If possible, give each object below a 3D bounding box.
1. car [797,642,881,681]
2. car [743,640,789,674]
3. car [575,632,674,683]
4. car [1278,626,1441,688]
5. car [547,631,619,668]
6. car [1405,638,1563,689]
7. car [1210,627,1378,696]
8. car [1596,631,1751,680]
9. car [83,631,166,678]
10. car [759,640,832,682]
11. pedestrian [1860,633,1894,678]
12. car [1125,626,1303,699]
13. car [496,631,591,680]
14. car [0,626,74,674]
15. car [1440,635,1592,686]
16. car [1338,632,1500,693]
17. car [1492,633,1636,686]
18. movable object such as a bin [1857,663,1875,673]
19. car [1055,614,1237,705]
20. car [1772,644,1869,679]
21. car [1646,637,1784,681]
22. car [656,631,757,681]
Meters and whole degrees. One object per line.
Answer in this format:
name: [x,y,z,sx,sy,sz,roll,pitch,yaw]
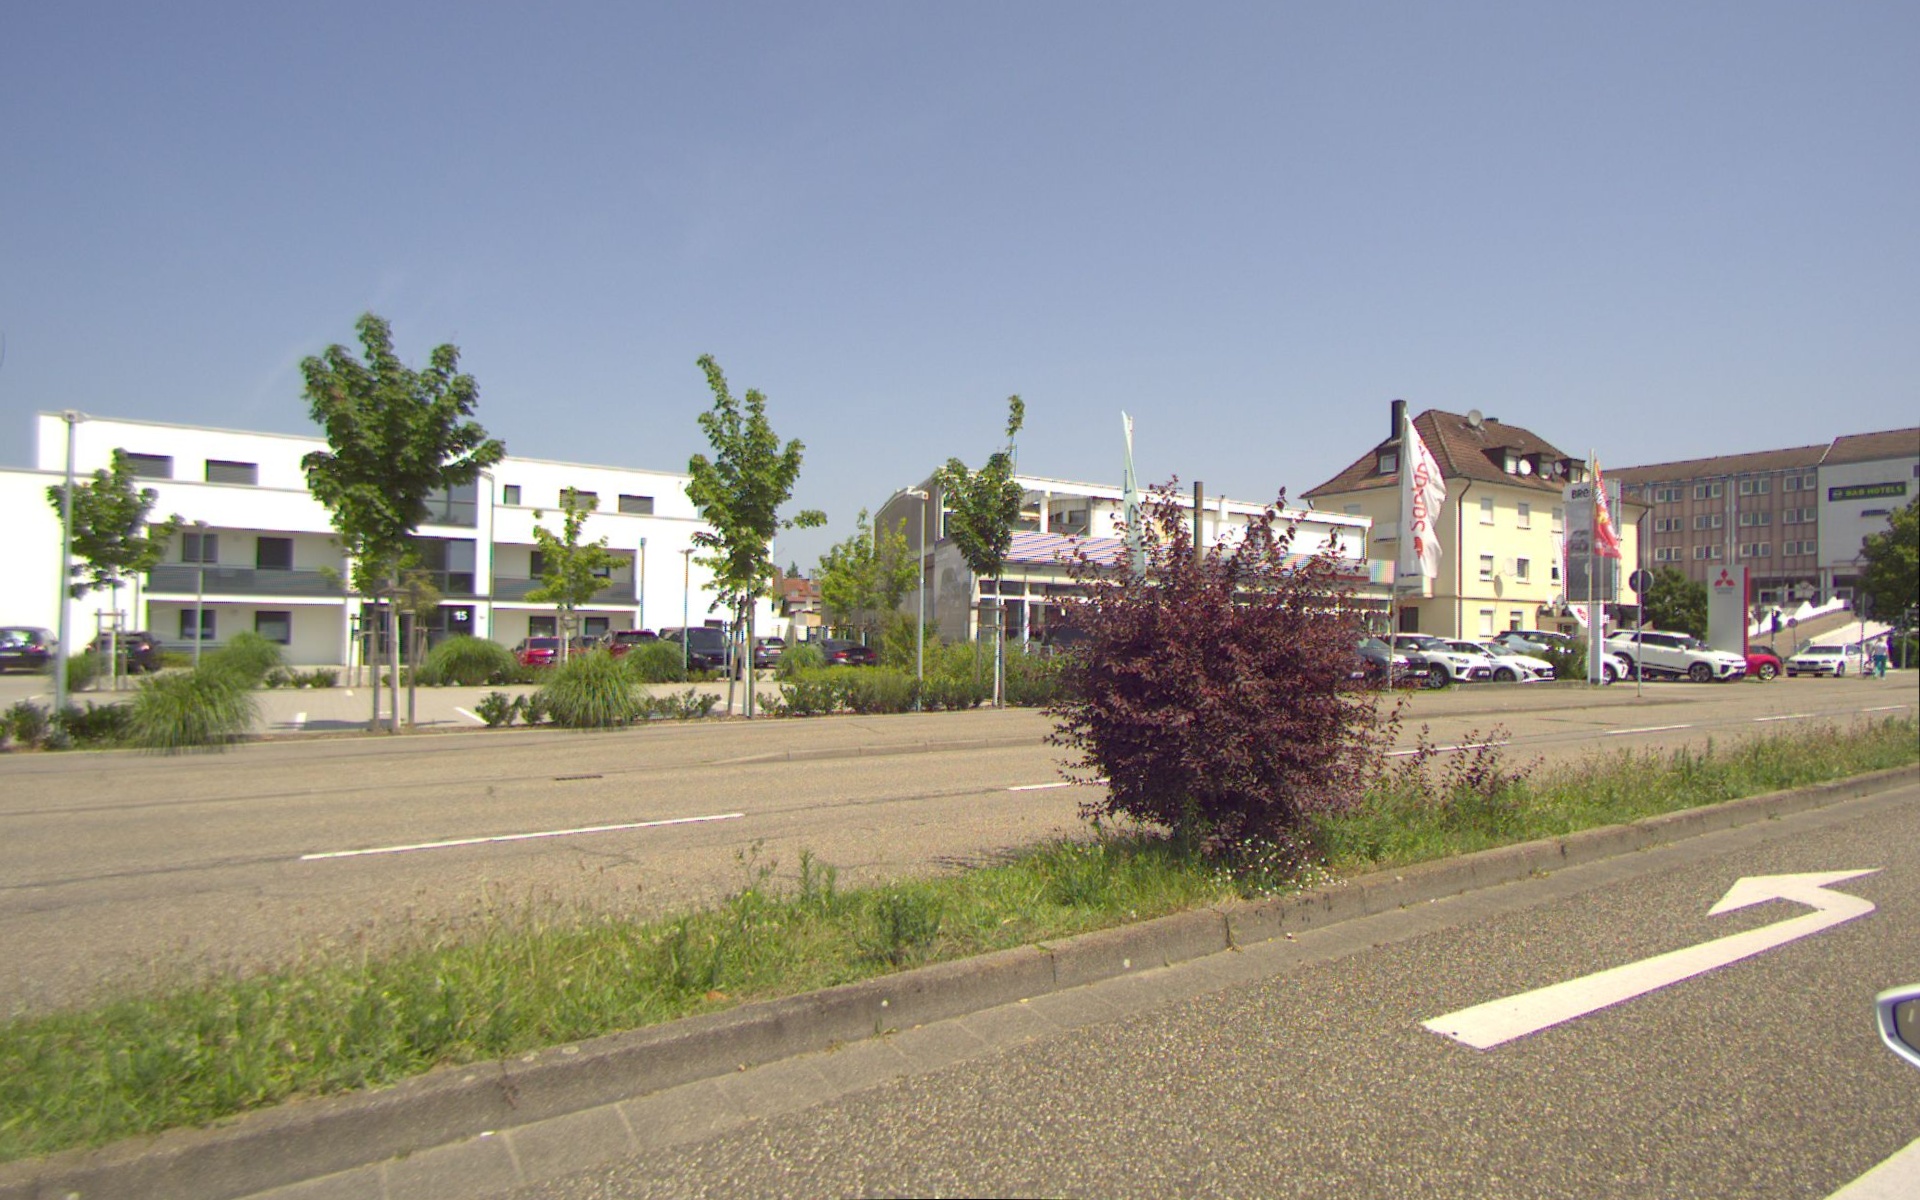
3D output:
car: [-4.308,2.127,35.455,1.631,1.261,3.694,2,-2,-30]
car: [-8.943,2.591,46.068,1.847,1.472,3.990,1,-2,-14]
car: [-10.656,1.764,31.760,1.861,1.472,3.960,2,-2,-36]
car: [11.044,1.526,28.000,1.741,1.588,3.964,2,-2,-33]
car: [-15.827,2.039,42.073,1.861,1.472,3.960,2,-2,-36]
car: [16.060,1.910,30.952,1.840,1.413,3.964,2,-2,-33]
car: [8.606,1.552,26.192,1.741,1.629,3.964,2,-3,-33]
car: [27.112,2.056,38.334,1.741,1.732,4.520,1,-2,-33]
car: [-28.228,1.808,34.042,1.861,1.472,3.960,2,-2,-36]
car: [-5.446,1.961,32.968,1.701,1.240,3.523,1,-2,-21]
pedestrian: [36.833,2.223,40.349,1.021,1.770,0.737,1,-2,-30]
car: [6.213,1.488,24.928,2.067,1.629,3.964,2,-2,-33]
car: [-12.577,1.633,30.195,1.829,1.332,3.961,2,-2,-35]
car: [-30.381,1.600,32.826,1.862,1.472,3.957,2,-2,-38]
car: [17.863,1.902,32.423,1.741,1.486,3.964,2,-2,-33]
car: [13.482,1.785,29.697,1.905,1.629,3.964,2,-2,-33]
car: [20.294,1.970,33.925,3.922,1.645,1.759,0,-2,22]
movable object such as a bin: [36.313,2.714,40.262,0.501,0.377,0.414,2,-2,-31]
car: [4.210,1.308,23.260,1.979,1.906,3.964,2,-2,-33]
car: [37.880,2.684,44.180,4.702,1.429,1.768,2,-2,-30]
car: [30.529,2.354,40.702,4.093,1.664,1.841,0,-2,6]
car: [-8.293,1.778,32.695,1.861,1.472,3.960,2,-2,-36]
